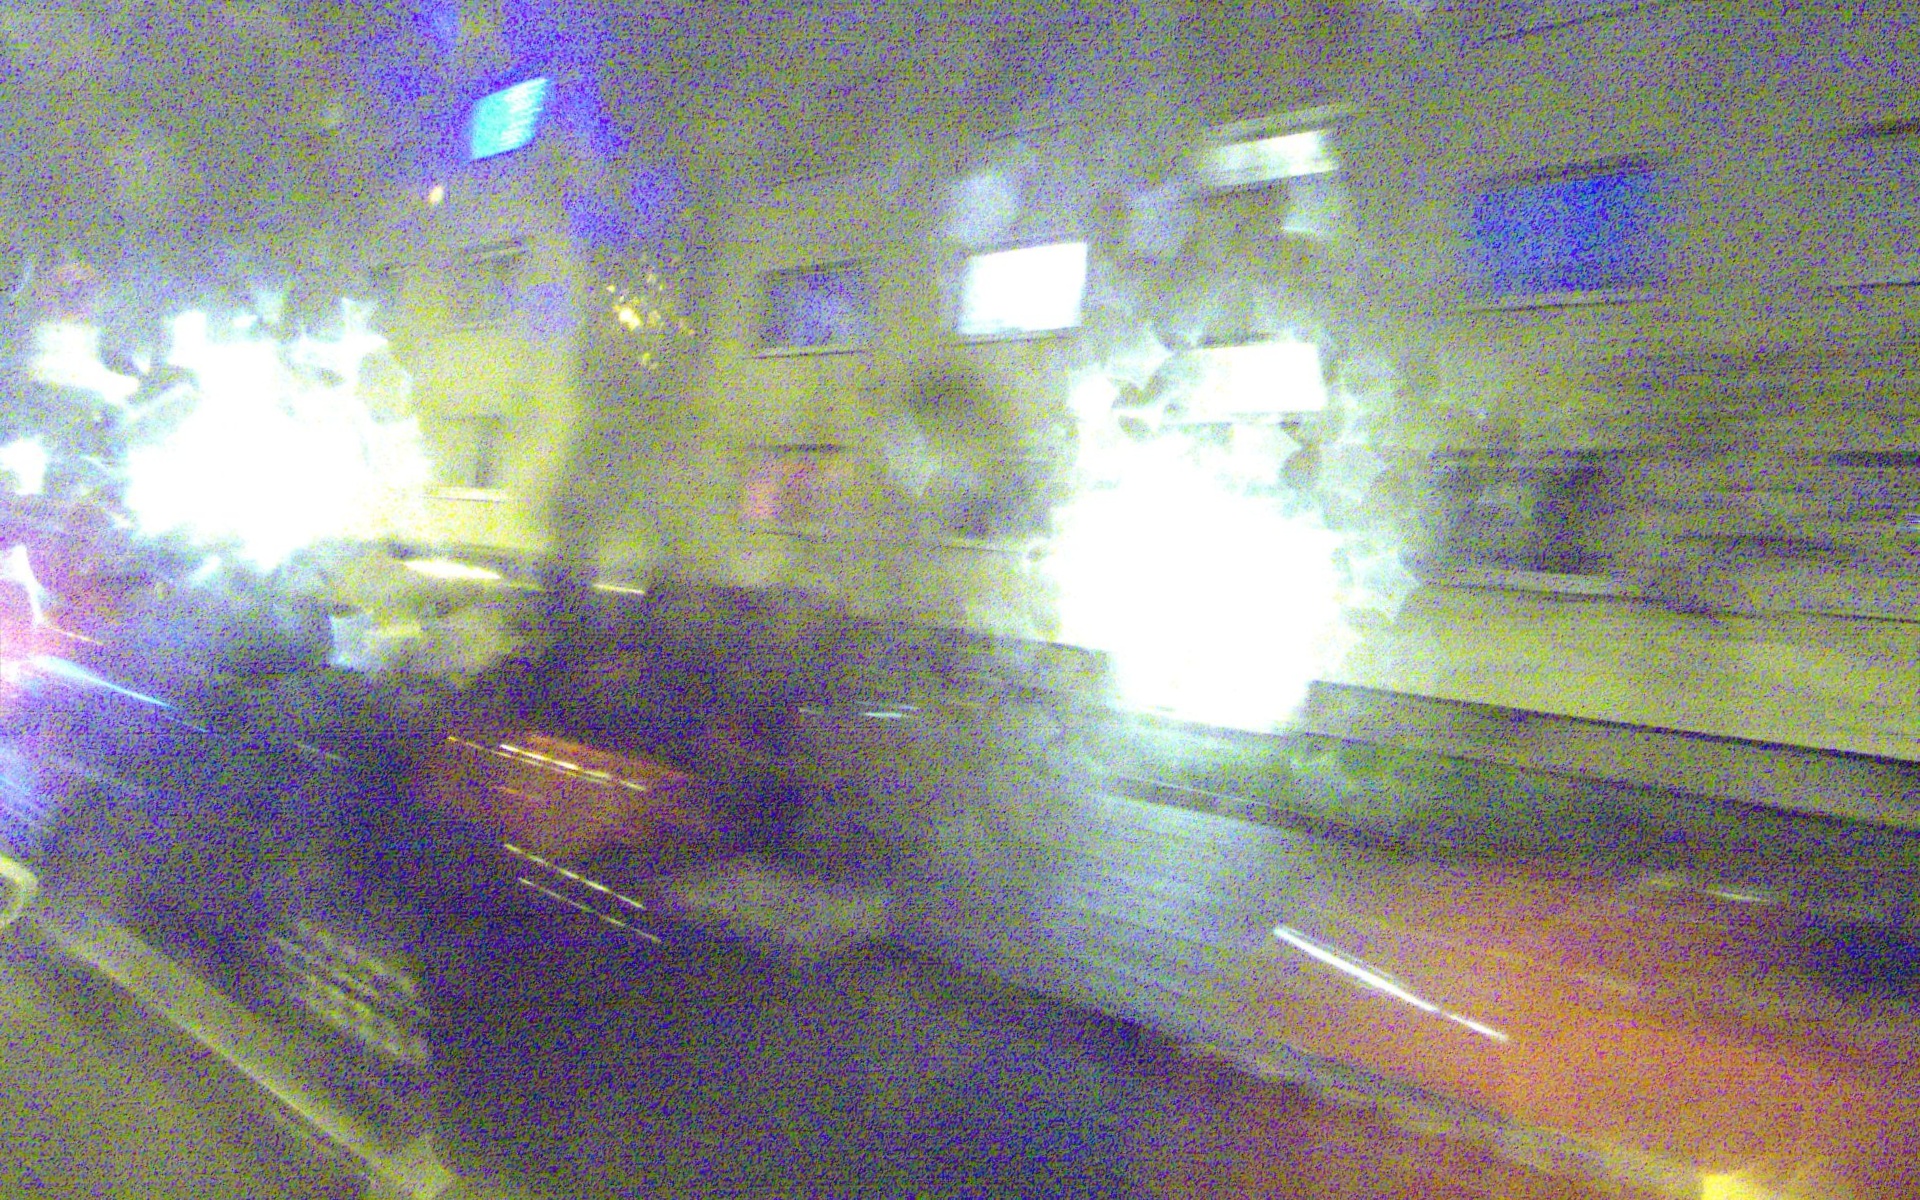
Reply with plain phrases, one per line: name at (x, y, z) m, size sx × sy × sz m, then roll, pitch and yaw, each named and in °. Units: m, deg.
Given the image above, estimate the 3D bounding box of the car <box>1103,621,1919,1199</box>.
car at (2.128, 0.897, 1.263) m, size 3.566 × 1.323 × 1.457 m, roll 7°, pitch 2°, yaw 29°

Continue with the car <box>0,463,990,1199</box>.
car at (-2.482, 0.384, 4.148) m, size 4.896 × 1.568 × 1.755 m, roll 7°, pitch 2°, yaw 32°

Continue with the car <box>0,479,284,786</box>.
car at (-6.472, -0.020, 6.599) m, size 4.282 × 1.568 × 1.824 m, roll 7°, pitch 2°, yaw 33°
